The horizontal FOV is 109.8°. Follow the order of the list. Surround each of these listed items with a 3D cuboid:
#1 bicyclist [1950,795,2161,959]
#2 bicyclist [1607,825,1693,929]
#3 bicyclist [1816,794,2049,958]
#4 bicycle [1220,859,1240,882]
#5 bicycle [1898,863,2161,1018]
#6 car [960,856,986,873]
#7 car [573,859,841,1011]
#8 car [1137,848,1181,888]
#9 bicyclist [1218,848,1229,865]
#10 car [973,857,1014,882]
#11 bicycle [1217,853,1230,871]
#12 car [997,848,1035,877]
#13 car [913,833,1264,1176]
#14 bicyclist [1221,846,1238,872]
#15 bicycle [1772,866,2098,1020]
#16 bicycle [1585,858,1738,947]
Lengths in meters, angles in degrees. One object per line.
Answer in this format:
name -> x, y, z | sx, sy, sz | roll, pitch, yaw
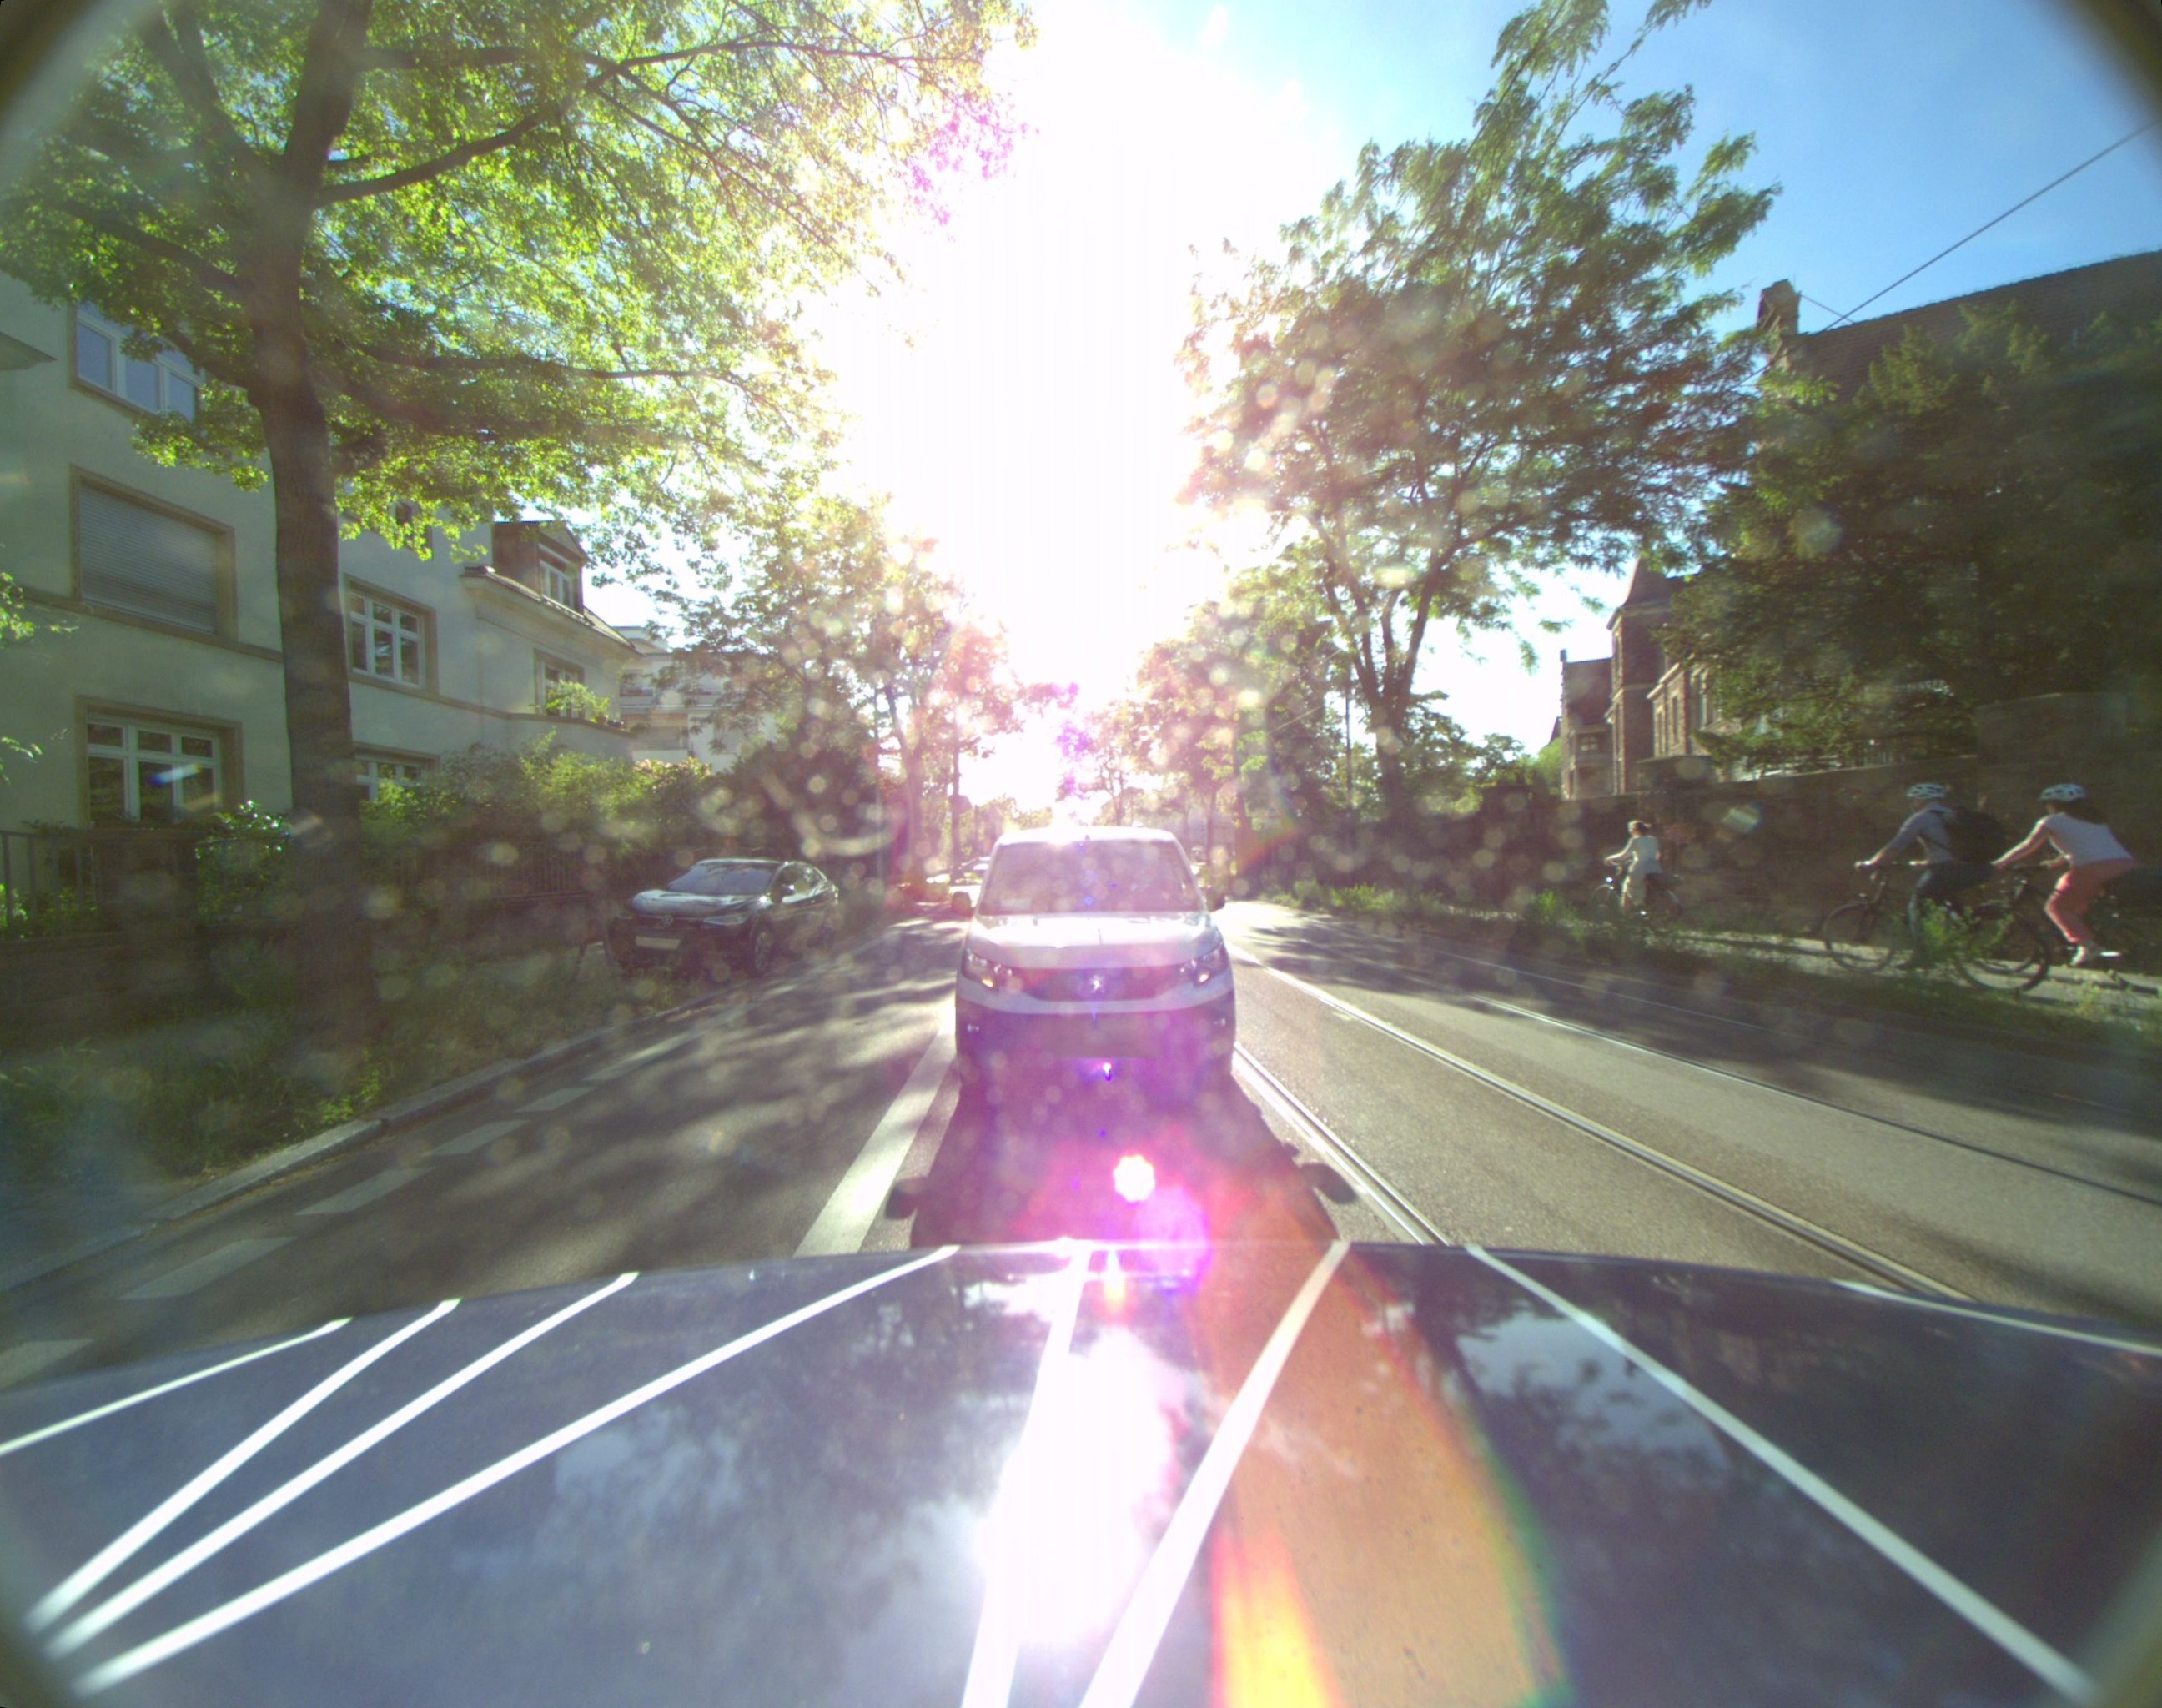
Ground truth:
bicyclist -> 9.018, 0.188, 7.027 | 0.734, 1.383, 1.060 | -2, 1, -1
bicyclist -> 8.793, 0.339, 11.768 | 0.744, 1.526, 0.751 | -2, 1, 1
bicyclist -> 7.956, 0.182, 7.185 | 0.768, 1.383, 1.272 | -2, 1, 1
bicycle -> 7.519, 0.812, 38.371 | 0.684, 1.072, 1.736 | -2, 1, 1
bicycle -> 9.038, 0.709, 7.000 | 0.733, 1.184, 2.087 | -2, 1, -1
car -> -10.049, 0.968, 70.646 | 1.741, 1.434, 3.999 | -2, 1, 1
car -> -5.264, 1.008, 11.458 | 1.999, 1.733, 4.169 | -2, 1, -2
car -> 3.696, 0.626, 36.507 | 1.831, 1.800, 4.000 | -1, 1, 2
bicyclist -> 9.334, 0.155, 49.766 | 0.684, 1.106, 0.694 | -2, 1, 15
car -> -5.165, 0.896, 45.286 | 1.719, 1.332, 3.918 | -2, 1, 3
bicycle -> 9.338, 0.507, 49.743 | 0.684, 1.106, 1.738 | -2, 1, 15
car -> -4.380, 0.540, 51.652 | 1.904, 1.819, 4.248 | -2, 1, 3
car -> 0.010, 0.784, 6.232 | 1.832, 1.788, 4.333 | -1, 1, -1
bicyclist -> 7.497, 0.260, 38.345 | 0.684, 1.277, 0.871 | -2, 1, 1
bicycle -> 7.976, 0.749, 7.294 | 0.774, 1.184, 2.102 | -2, 1, 1
bicycle -> 8.802, 0.682, 11.653 | 0.747, 1.184, 2.088 | -2, 1, 1
